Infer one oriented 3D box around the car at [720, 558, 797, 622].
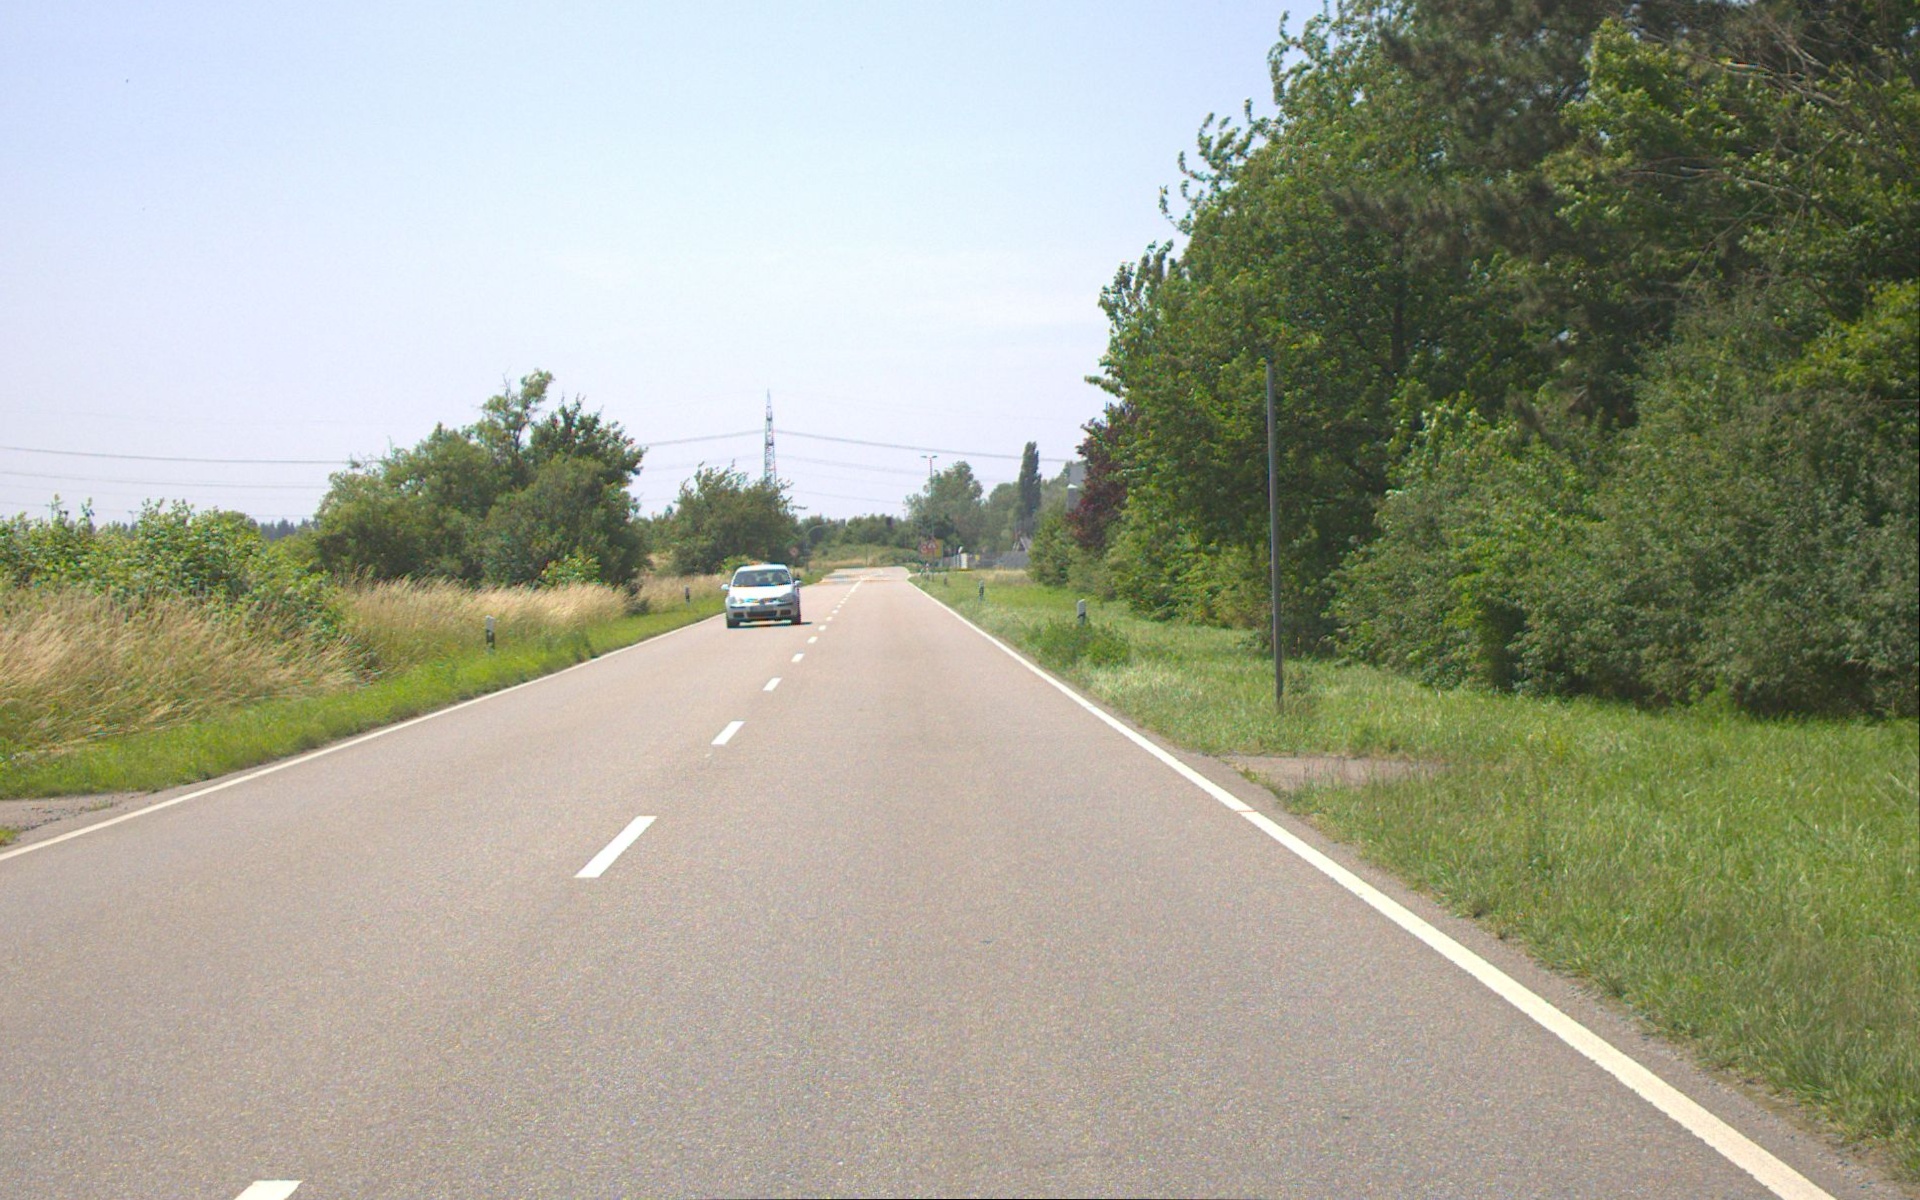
[{"bbox_3d":[-4.855,-0.266,83.300,1.678,1.416,4.422,-3,1,-2],"label":"car"}]
